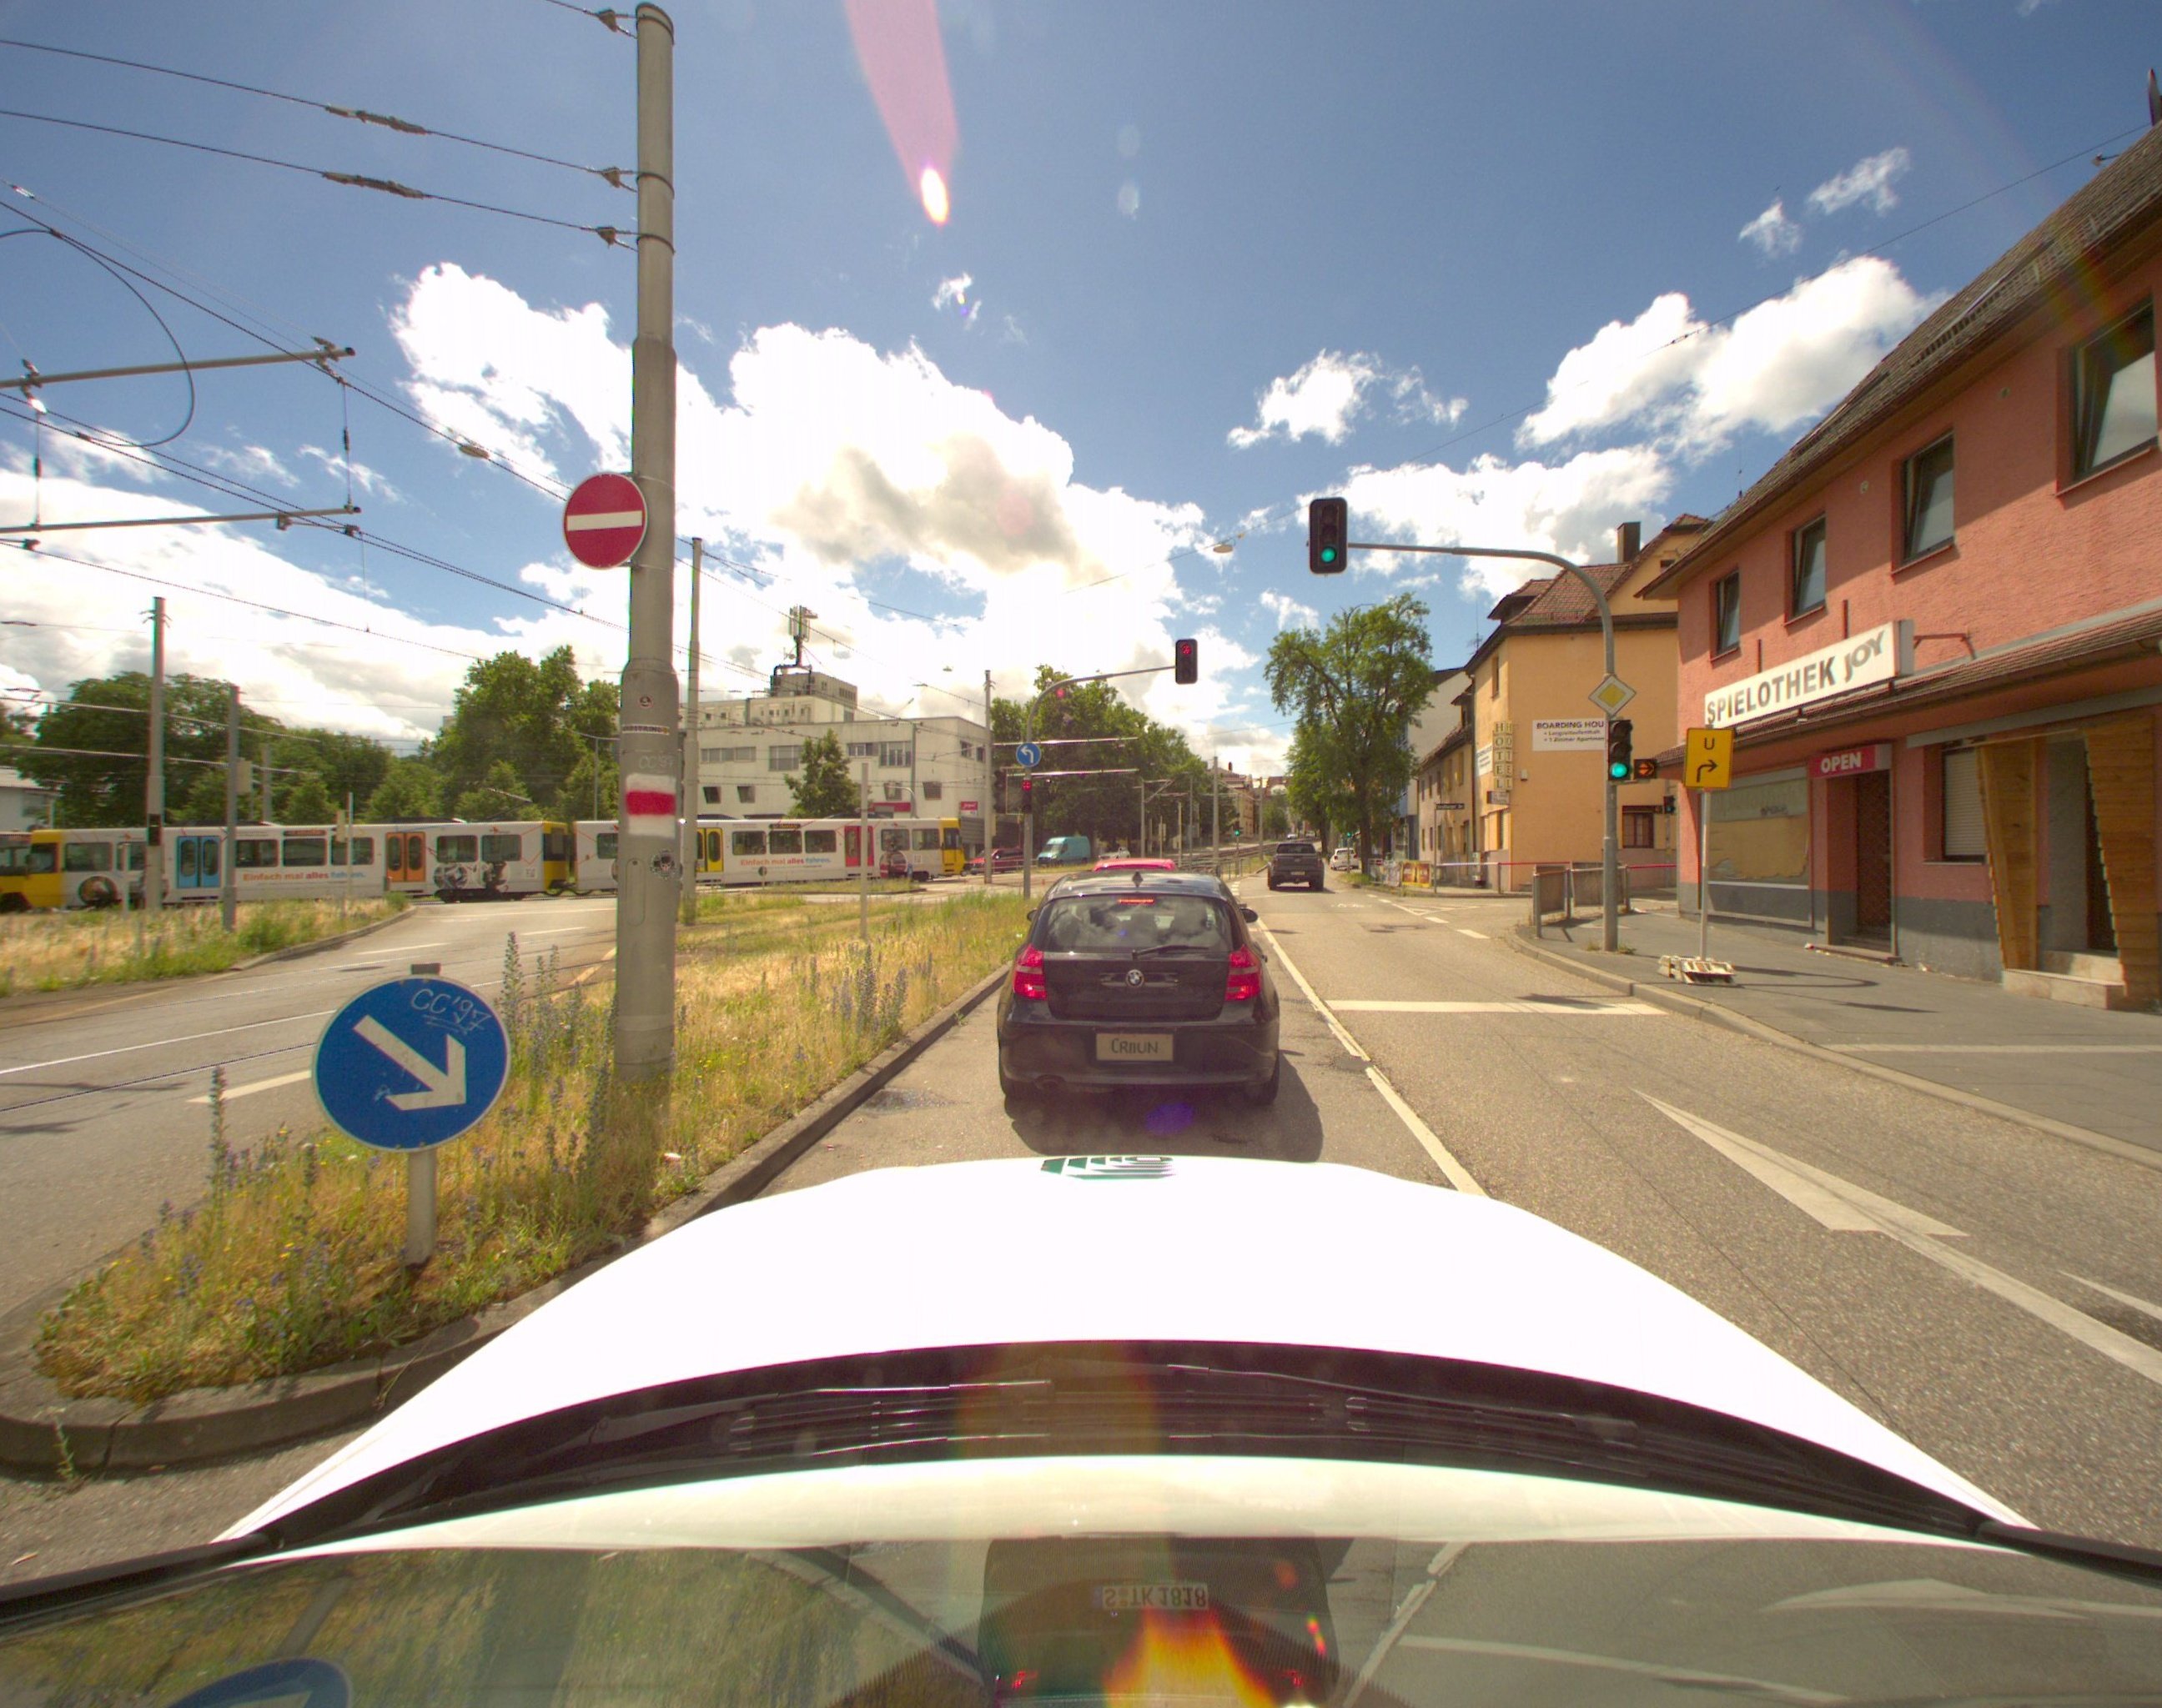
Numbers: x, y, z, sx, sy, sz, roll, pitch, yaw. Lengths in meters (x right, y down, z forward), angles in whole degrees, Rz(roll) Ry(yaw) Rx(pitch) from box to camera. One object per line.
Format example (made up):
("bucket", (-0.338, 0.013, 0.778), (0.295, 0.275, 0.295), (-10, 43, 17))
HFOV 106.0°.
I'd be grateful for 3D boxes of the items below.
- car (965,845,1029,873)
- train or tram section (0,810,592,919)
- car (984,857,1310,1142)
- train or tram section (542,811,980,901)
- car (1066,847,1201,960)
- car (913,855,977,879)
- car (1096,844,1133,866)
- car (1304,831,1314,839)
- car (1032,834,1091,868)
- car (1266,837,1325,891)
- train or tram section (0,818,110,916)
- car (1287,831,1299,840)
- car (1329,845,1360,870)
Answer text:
("car", (-6.318, 0.380, 61.428), (1.835, 2.009, 4.828), (-3, -1, 40))
("train or tram section", (-32.934, 0.345, 34.756), (20.569, 3.879, 3.748), (-1, -1, -10))
("car", (0.343, 0.796, 6.322), (1.696, 1.452, 3.999), (-2, -1, 0))
("train or tram section", (-15.140, -0.044, 41.287), (20.120, 3.814, 3.723), (-1, -1, -32))
("car", (0.984, 0.694, 12.894), (1.615, 1.473, 4.011), (-2, -1, 10))
("car", (-9.485, 0.888, 57.088), (1.835, 1.585, 4.196), (-2, -1, 39))
("car", (3.202, 0.109, 77.053), (1.836, 1.928, 4.824), (-2, -1, 24))
("car", (57.692, -4.783, 206.025), (1.976, 2.014, 4.022), (-2, -1, 23))
("car", (-1.558, -0.241, 68.279), (2.110, 2.654, 5.726), (-2, -1, 32))
("car", (8.441, 0.397, 32.098), (1.984, 1.887, 5.170), (-2, -1, 15))
("train or tram section", (-52.151, 0.827, 34.774), (19.966, 3.829, 3.770), (-2, -1, 8))
("car", (48.655, -4.244, 186.920), (1.976, 2.014, 4.022), (-2, -1, 23))
("car", (18.010, 0.224, 55.783), (1.774, 1.596, 4.016), (-2, -1, 15))
